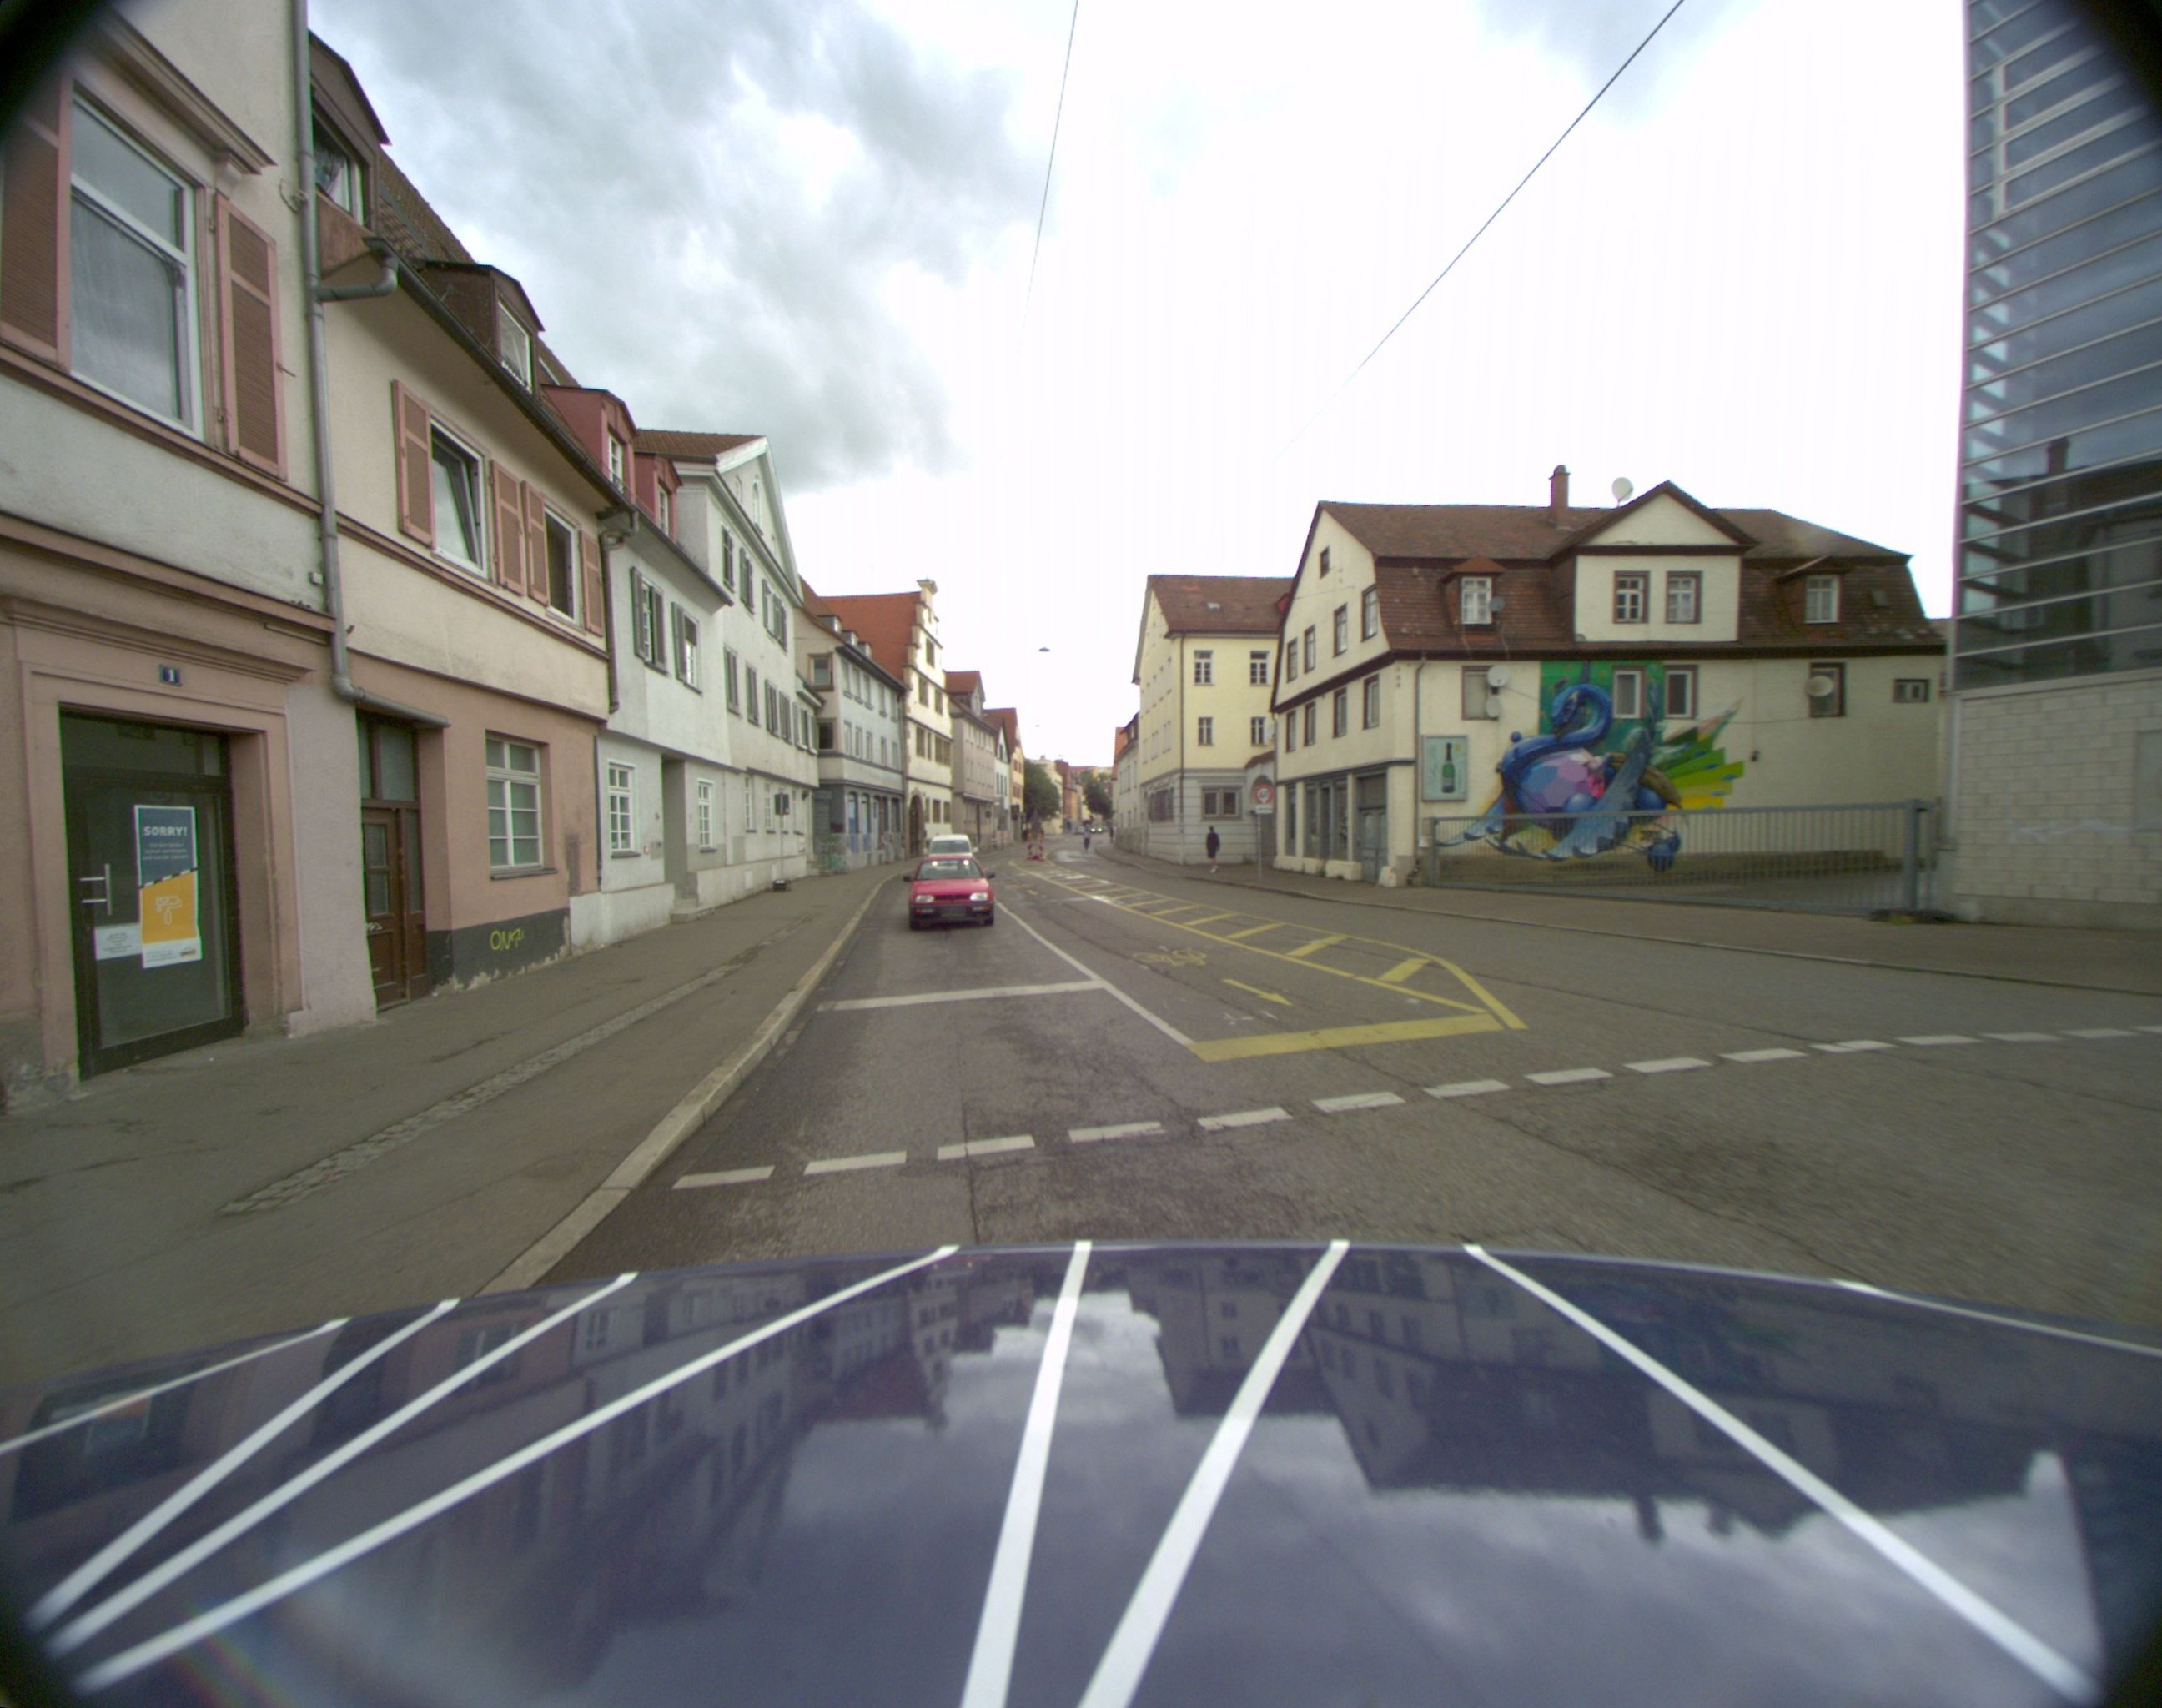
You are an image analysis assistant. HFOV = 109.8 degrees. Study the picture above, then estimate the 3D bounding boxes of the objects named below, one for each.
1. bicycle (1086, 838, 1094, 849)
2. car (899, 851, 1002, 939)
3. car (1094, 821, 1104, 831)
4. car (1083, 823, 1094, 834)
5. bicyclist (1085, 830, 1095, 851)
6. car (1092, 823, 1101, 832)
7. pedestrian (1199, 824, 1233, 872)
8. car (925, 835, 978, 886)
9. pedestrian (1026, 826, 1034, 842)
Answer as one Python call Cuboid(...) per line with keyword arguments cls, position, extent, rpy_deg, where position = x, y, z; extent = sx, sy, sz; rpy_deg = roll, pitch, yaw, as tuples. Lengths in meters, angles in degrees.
Cuboid(cls="bicycle", position=(0.752, -0.847, 60.919), extent=(0.542, 0.887, 1.880), rpy_deg=(-1, 2, 3))
Cuboid(cls="car", position=(-2.766, 0.751, 16.306), extent=(1.805, 1.458, 3.996), rpy_deg=(-4, 2, -9))
Cuboid(cls="car", position=(3.747, -5.774, 154.936), extent=(1.998, 2.002, 4.000), rpy_deg=(-1, 2, 3))
Cuboid(cls="car", position=(1.482, -5.193, 155.034), extent=(1.998, 2.002, 4.000), rpy_deg=(-1, 2, 3))
Cuboid(cls="bicyclist", position=(0.733, -1.083, 60.873), extent=(0.725, 1.691, 0.811), rpy_deg=(-1, 2, 2))
Cuboid(cls="car", position=(3.568, -6.167, 176.367), extent=(1.998, 2.002, 4.000), rpy_deg=(-1, 2, 3))
Cuboid(cls="pedestrian", position=(5.575, -0.242, 31.381), extent=(1.057, 1.875, 1.091), rpy_deg=(-3, 1, -6))
Cuboid(cls="car", position=(-4.921, 0.186, 29.065), extent=(1.805, 1.781, 4.344), rpy_deg=(-1, 2, -9))
Cuboid(cls="pedestrian", position=(-6.291, -2.478, 93.997), extent=(0.879, 1.888, 0.896), rpy_deg=(-1, 0, -13))
